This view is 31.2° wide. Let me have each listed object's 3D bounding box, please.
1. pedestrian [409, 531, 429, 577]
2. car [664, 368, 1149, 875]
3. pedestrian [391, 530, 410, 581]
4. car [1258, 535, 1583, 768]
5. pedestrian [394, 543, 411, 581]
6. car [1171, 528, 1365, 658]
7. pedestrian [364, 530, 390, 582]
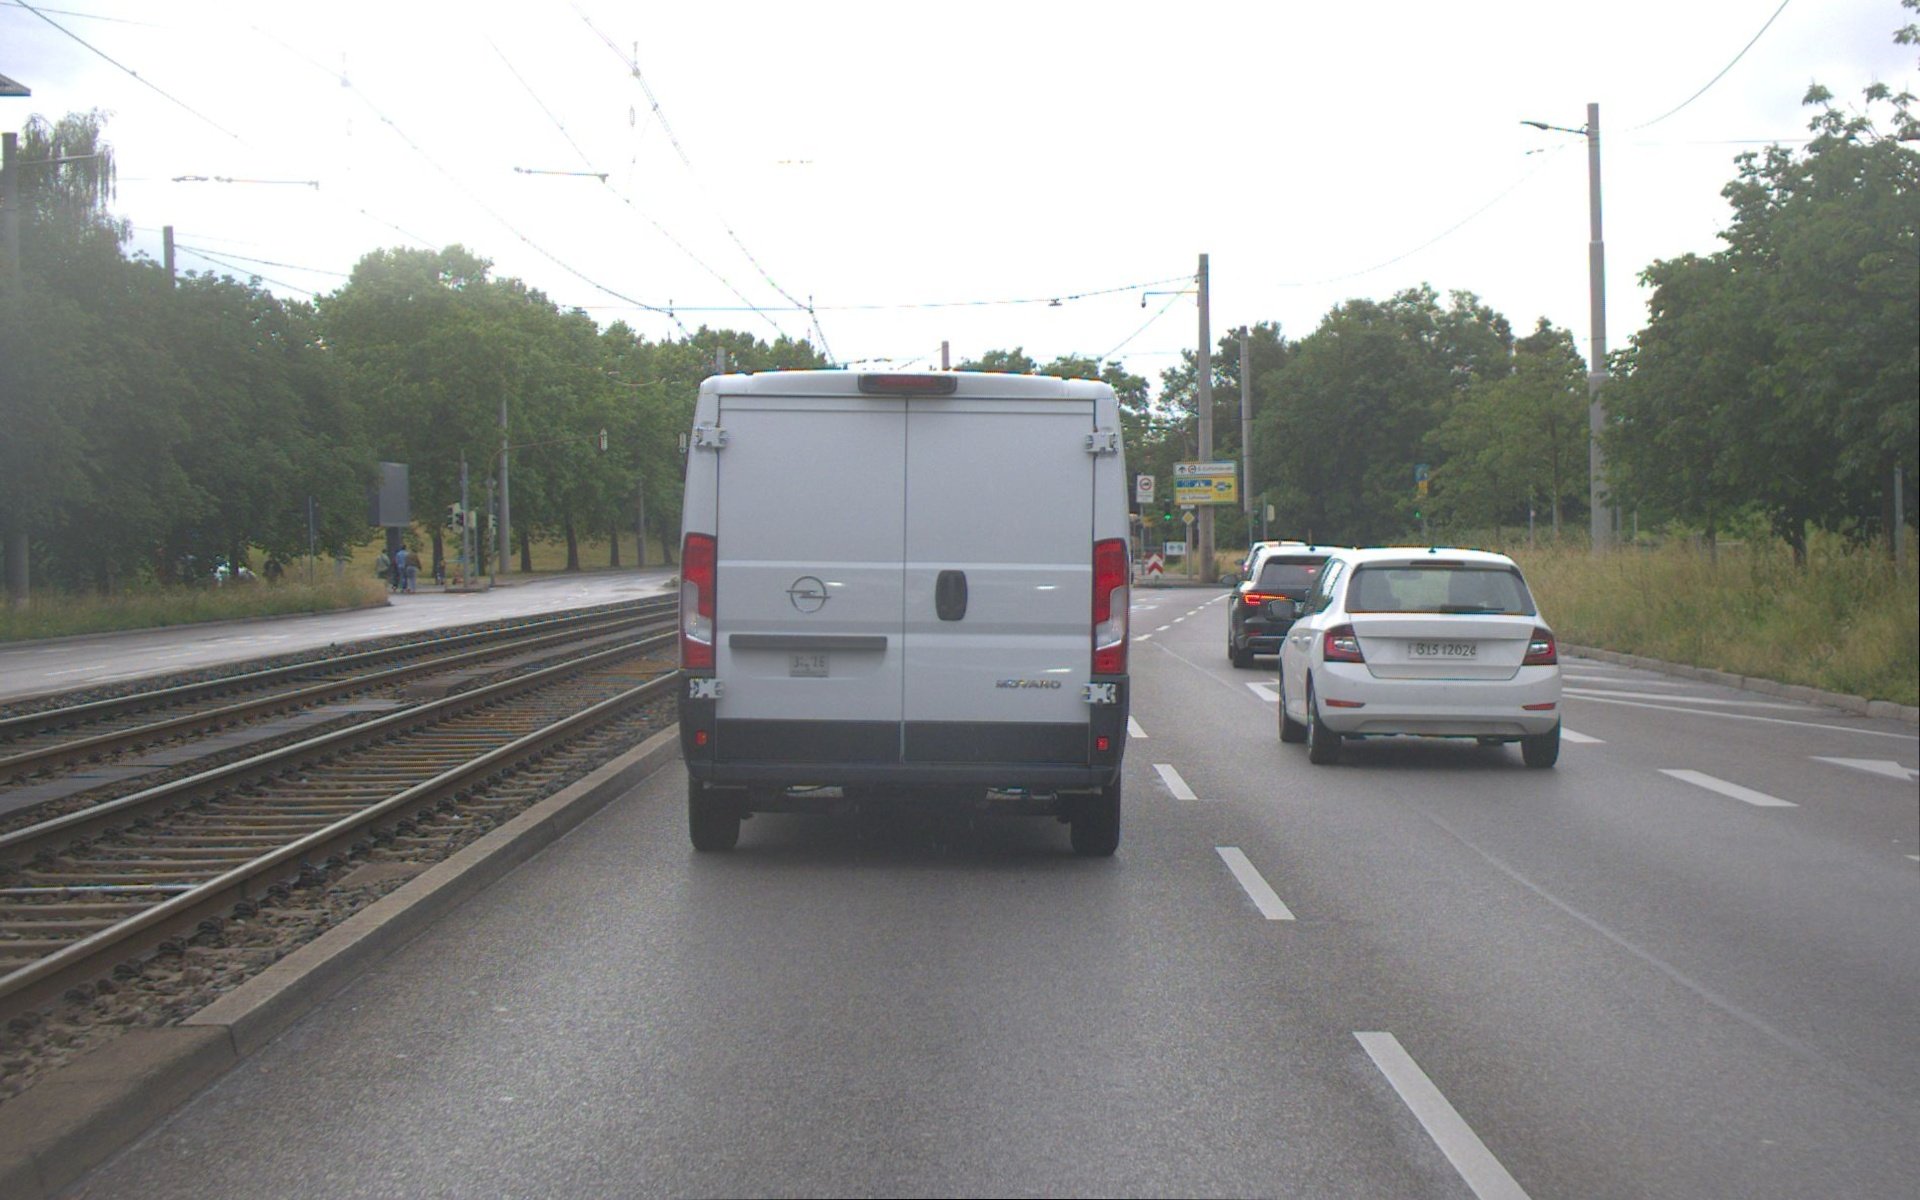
[{"bbox_3d":[-20.967,-1.790,133.225,0.506,1.781,0.832,1,1,6],"label":"pedestrian"},{"bbox_3d":[-0.267,0.032,17.588,2.090,2.189,5.061,1,1,-1],"label":"car"},{"bbox_3d":[-21.727,-1.734,133.482,0.496,1.949,0.722,1,1,5],"label":"pedestrian"},{"bbox_3d":[3.128,0.299,24.002,1.746,1.452,3.671,1,1,0],"label":"car"},{"bbox_3d":[-21.868,-1.479,134.909,0.496,1.468,0.722,1,1,3],"label":"pedestrian"},{"bbox_3d":[3.574,-0.109,40.546,1.789,1.444,4.000,0,1,-2],"label":"car"},{"bbox_3d":[-22.853,-1.735,134.869,0.887,2.007,0.866,-1,1,-4],"label":"pedestrian"}]
